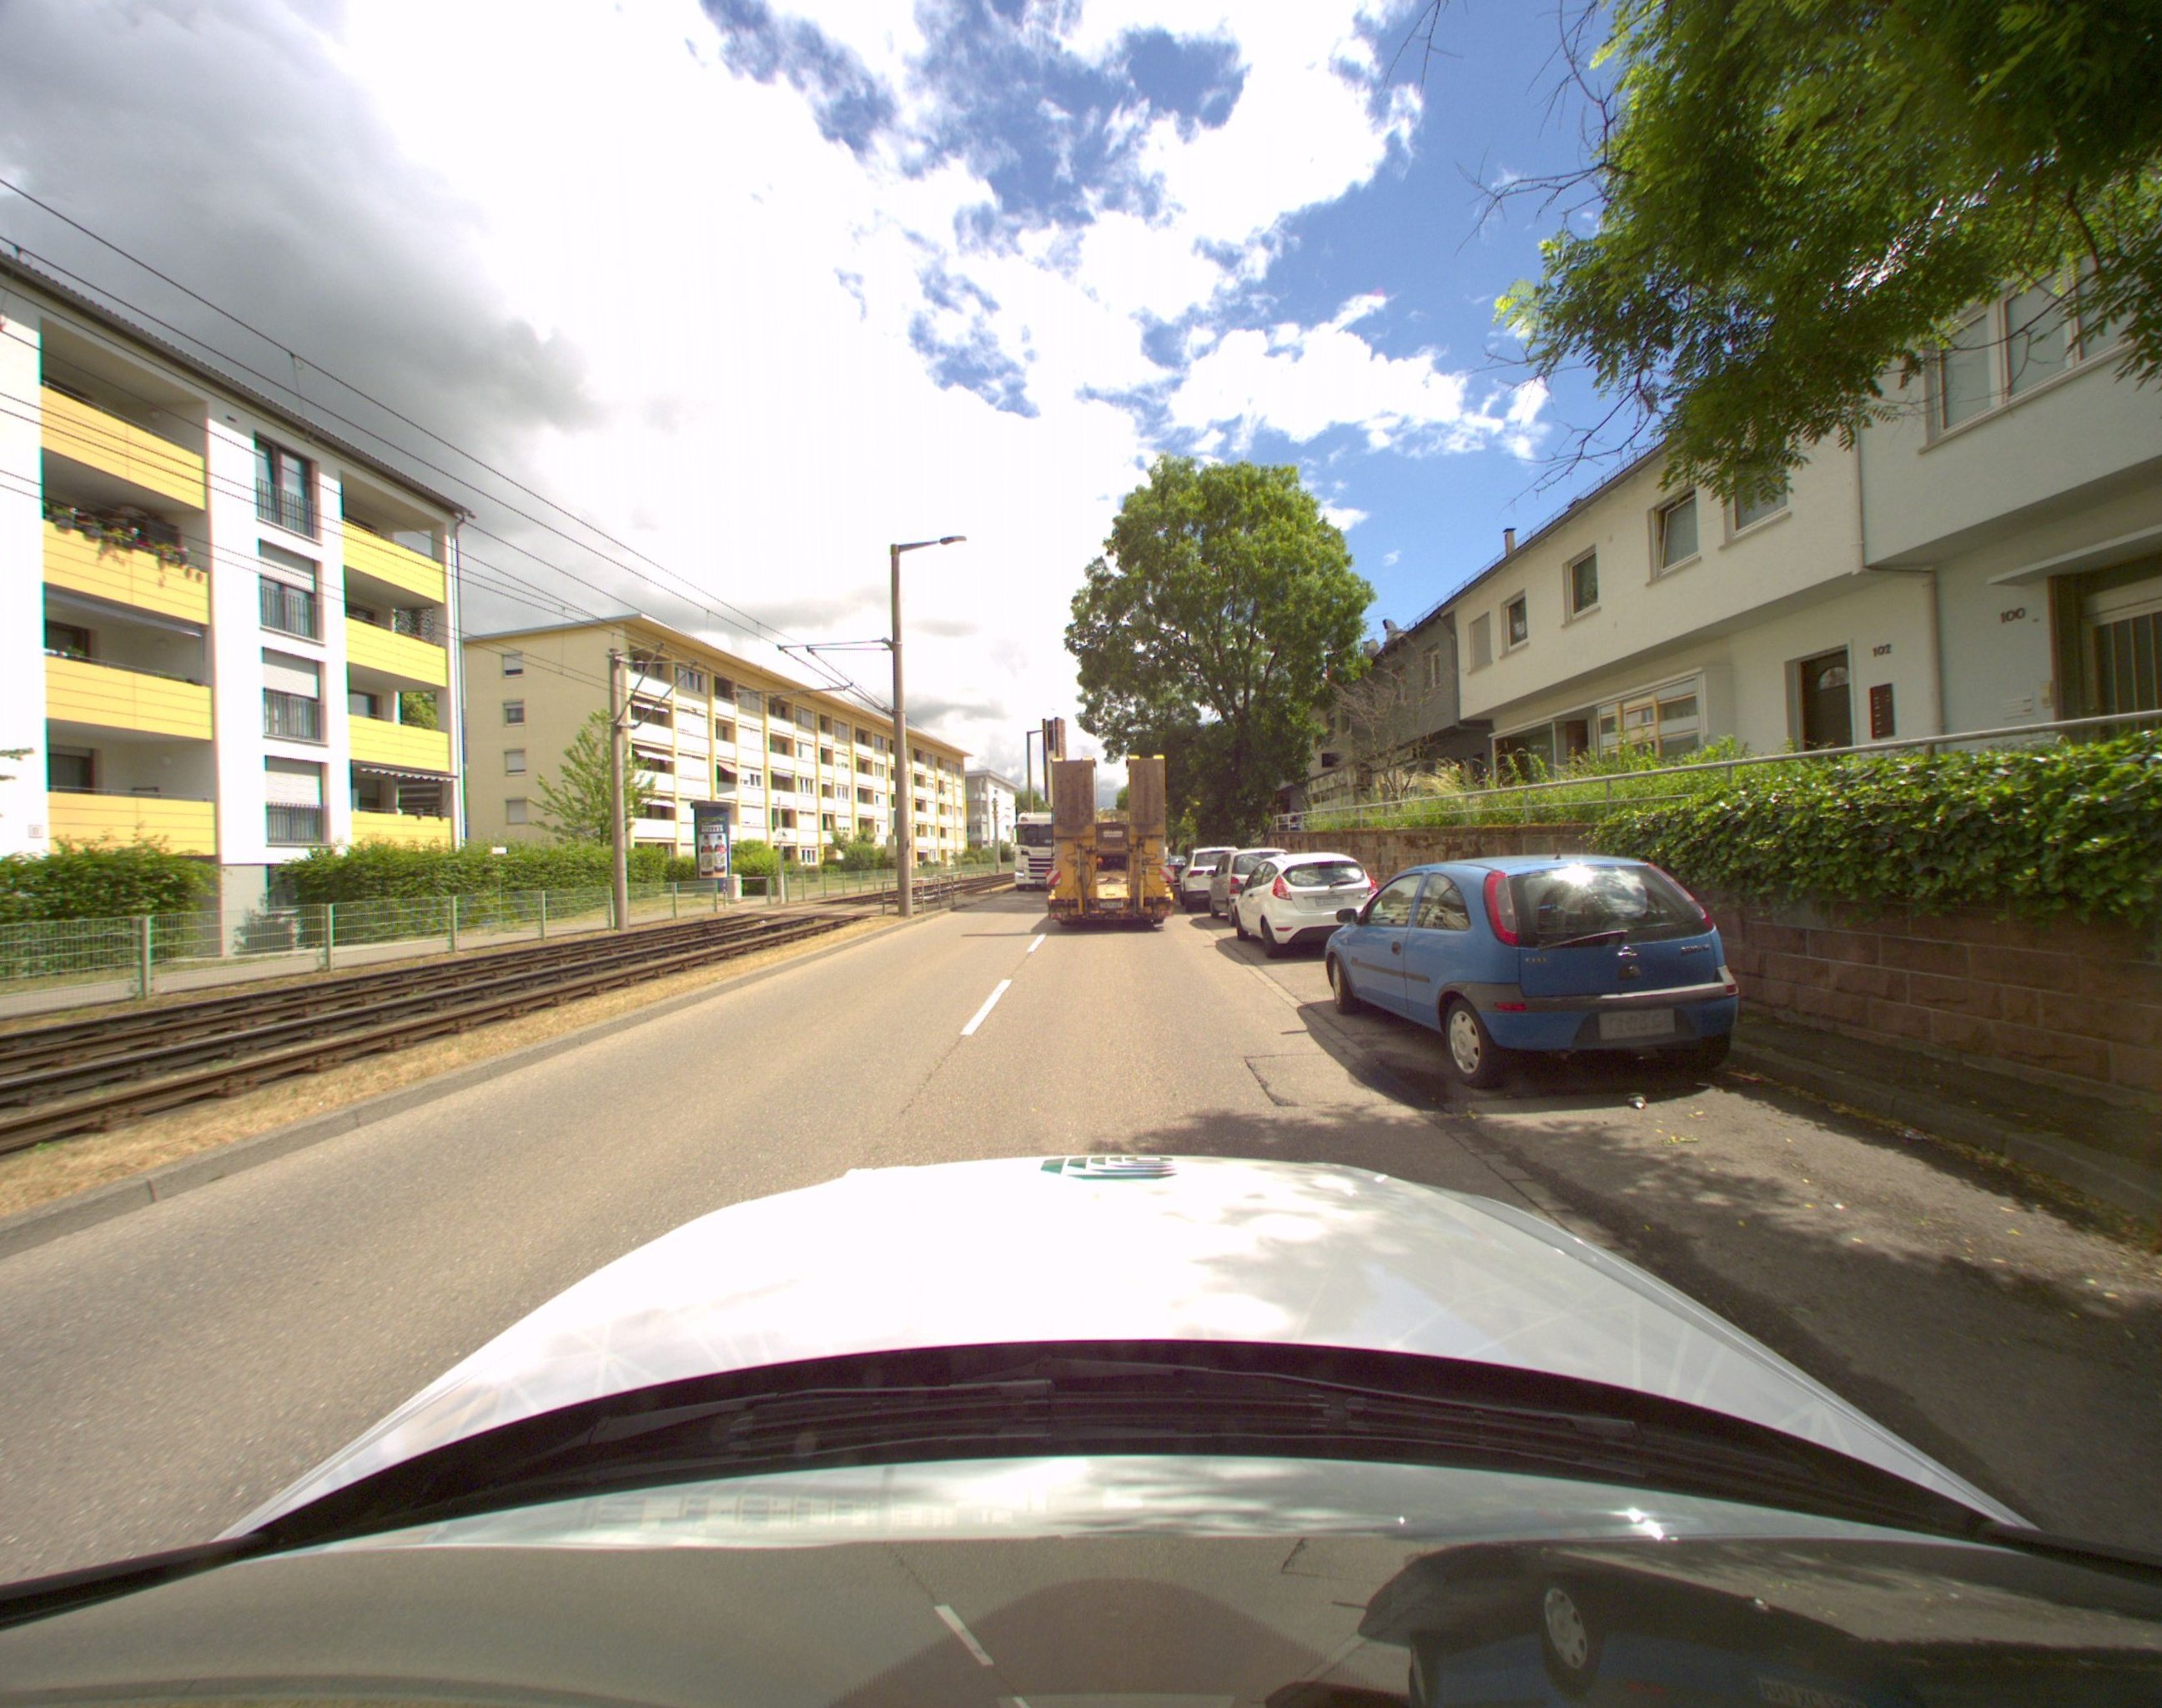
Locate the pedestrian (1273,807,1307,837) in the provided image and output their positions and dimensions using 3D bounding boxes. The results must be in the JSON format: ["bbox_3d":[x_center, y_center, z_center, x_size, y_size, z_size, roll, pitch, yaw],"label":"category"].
[{"bbox_3d":[5.906,-0.903,23.056,0.792,0.790,0.705,-2,0,1],"label":"pedestrian"}]

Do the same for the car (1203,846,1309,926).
[{"bbox_3d":[3.767,0.625,18.033,1.576,1.552,3.475,-2,0,0],"label":"car"}]

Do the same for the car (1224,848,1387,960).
[{"bbox_3d":[3.415,0.677,13.062,1.639,1.490,3.823,-2,0,2],"label":"car"}]

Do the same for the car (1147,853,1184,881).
[{"bbox_3d":[4.674,0.709,45.489,1.684,1.405,4.069,-3,0,1],"label":"car"}]

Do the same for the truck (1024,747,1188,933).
[{"bbox_3d":[0.668,-0.308,22.263,3.112,3.564,12.464,-2,0,2],"label":"truck"}]

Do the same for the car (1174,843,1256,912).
[{"bbox_3d":[3.654,0.576,22.874,1.815,1.682,4.581,-2,0,4],"label":"car"}]

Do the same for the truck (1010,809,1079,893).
[{"bbox_3d":[-1.596,-0.152,38.311,2.687,3.580,6.148,-1,0,2],"label":"truck"}]

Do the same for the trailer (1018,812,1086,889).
[{"bbox_3d":[-1.304,-0.186,44.961,2.687,3.580,13.683,-1,0,2],"label":"trailer"}]

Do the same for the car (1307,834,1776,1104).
[{"bbox_3d":[3.158,0.655,6.516,1.603,1.456,3.675,-3,0,0],"label":"car"}]

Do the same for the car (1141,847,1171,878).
[{"bbox_3d":[5.108,0.533,56.088,1.792,1.968,4.593,-3,0,2],"label":"car"}]

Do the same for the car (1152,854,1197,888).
[{"bbox_3d":[4.343,0.745,38.267,1.828,1.405,4.418,-3,0,4],"label":"car"}]
